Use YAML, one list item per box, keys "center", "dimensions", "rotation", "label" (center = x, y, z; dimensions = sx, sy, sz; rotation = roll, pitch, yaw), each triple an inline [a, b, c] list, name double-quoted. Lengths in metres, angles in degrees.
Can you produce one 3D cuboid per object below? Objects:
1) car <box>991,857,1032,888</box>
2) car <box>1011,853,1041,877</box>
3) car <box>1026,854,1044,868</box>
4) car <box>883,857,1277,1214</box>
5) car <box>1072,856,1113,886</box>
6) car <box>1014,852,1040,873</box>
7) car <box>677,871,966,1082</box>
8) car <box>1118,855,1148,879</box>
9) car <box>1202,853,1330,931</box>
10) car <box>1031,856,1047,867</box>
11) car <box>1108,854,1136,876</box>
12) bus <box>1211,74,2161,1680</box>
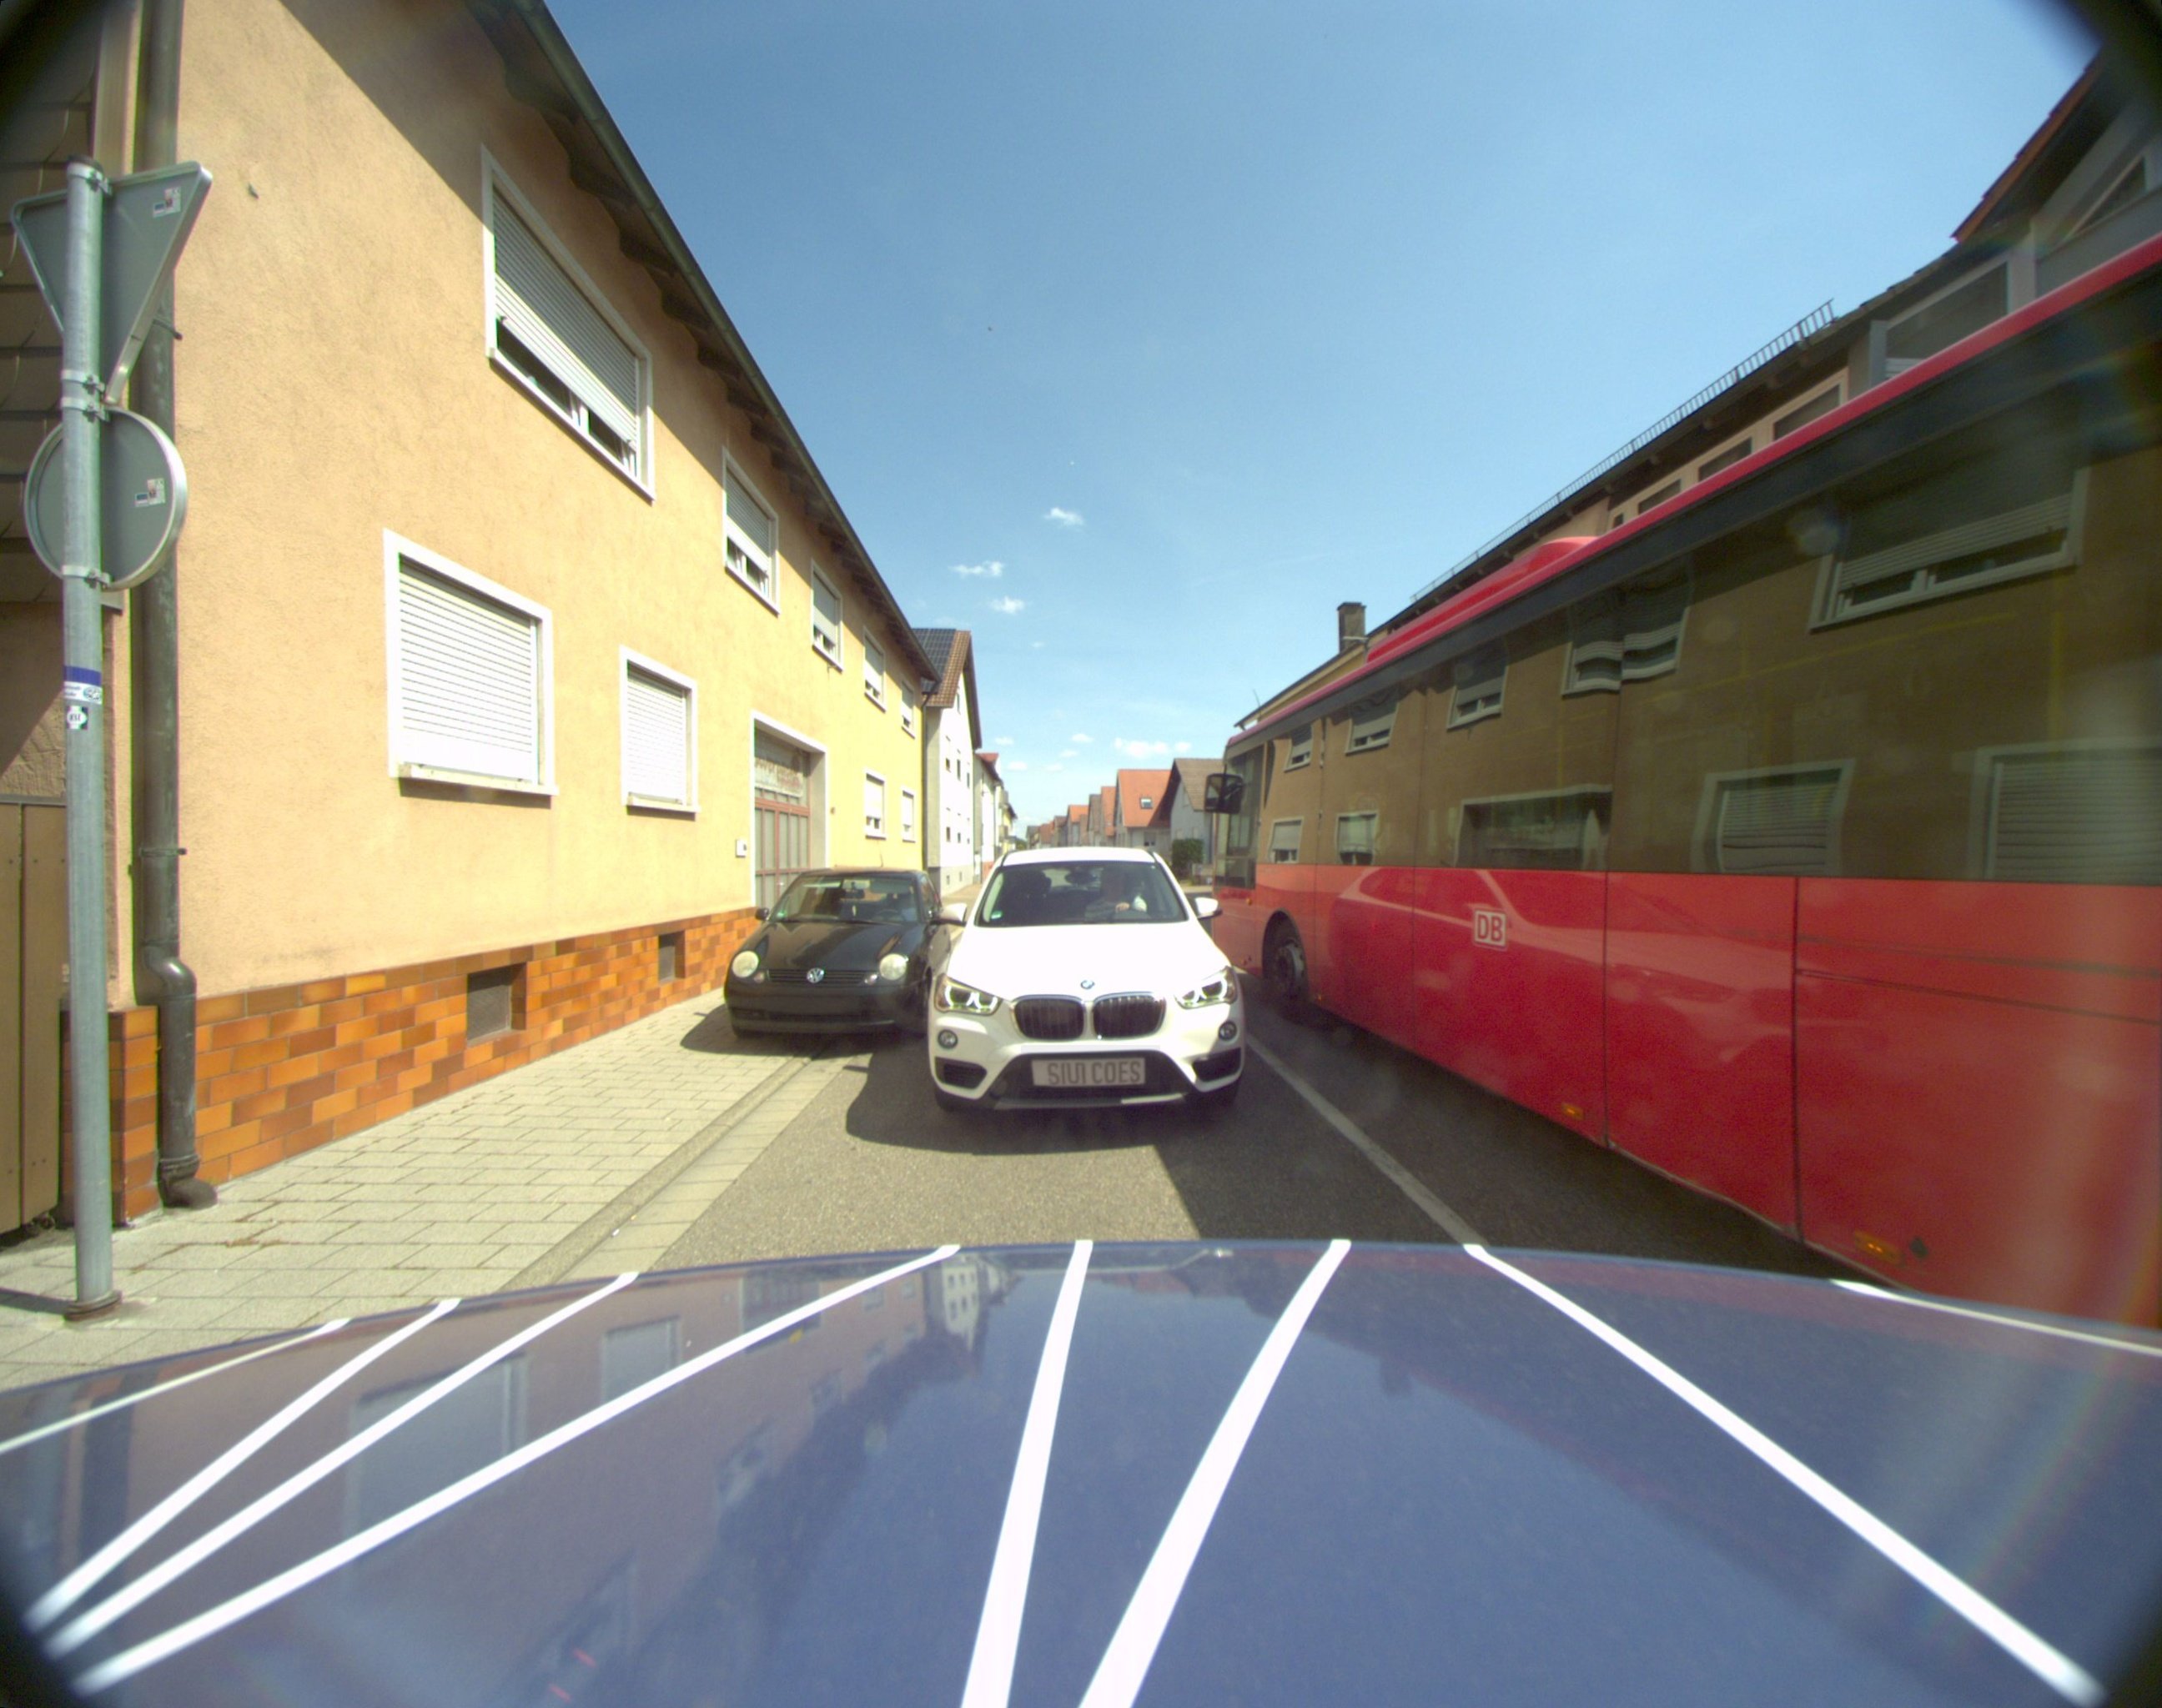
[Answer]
- center: [-3.279, 0.845, 36.374]
  dimensions: [1.765, 1.420, 4.188]
  rotation: [0, 0, -3]
  label: "car"
- center: [-3.345, 0.662, 47.042]
  dimensions: [1.765, 1.420, 4.188]
  rotation: [0, 0, -3]
  label: "car"
- center: [-4.634, 0.669, 76.899]
  dimensions: [1.765, 1.420, 4.188]
  rotation: [0, 0, -3]
  label: "car"
- center: [-0.078, 0.879, 5.864]
  dimensions: [1.845, 1.636, 4.373]
  rotation: [-2, 0, -2]
  label: "car"
- center: [0.517, 0.814, 37.540]
  dimensions: [1.765, 1.389, 3.869]
  rotation: [1, 0, -2]
  label: "car"
- center: [-3.748, 0.573, 53.474]
  dimensions: [1.765, 1.420, 4.188]
  rotation: [0, 0, -3]
  label: "car"
- center: [-2.176, 0.948, 7.403]
  dimensions: [1.690, 1.454, 3.628]
  rotation: [2, 0, -3]
  label: "car"
- center: [3.194, 0.766, 46.727]
  dimensions: [1.458, 1.362, 3.383]
  rotation: [-3, 0, -2]
  label: "car"
- center: [4.252, 0.813, 18.165]
  dimensions: [1.749, 1.507, 3.998]
  rotation: [-4, 1, -4]
  label: "car"
- center: [-5.301, 0.932, 95.559]
  dimensions: [1.765, 1.420, 4.187]
  rotation: [0, 0, -6]
  label: "car"
- center: [2.745, 0.711, 51.099]
  dimensions: [1.442, 1.362, 3.383]
  rotation: [-3, 0, -3]
  label: "car"
- center: [3.358, 0.046, 3.329]
  dimensions: [2.634, 3.213, 12.017]
  rotation: [1, 0, -4]
  label: "bus"
